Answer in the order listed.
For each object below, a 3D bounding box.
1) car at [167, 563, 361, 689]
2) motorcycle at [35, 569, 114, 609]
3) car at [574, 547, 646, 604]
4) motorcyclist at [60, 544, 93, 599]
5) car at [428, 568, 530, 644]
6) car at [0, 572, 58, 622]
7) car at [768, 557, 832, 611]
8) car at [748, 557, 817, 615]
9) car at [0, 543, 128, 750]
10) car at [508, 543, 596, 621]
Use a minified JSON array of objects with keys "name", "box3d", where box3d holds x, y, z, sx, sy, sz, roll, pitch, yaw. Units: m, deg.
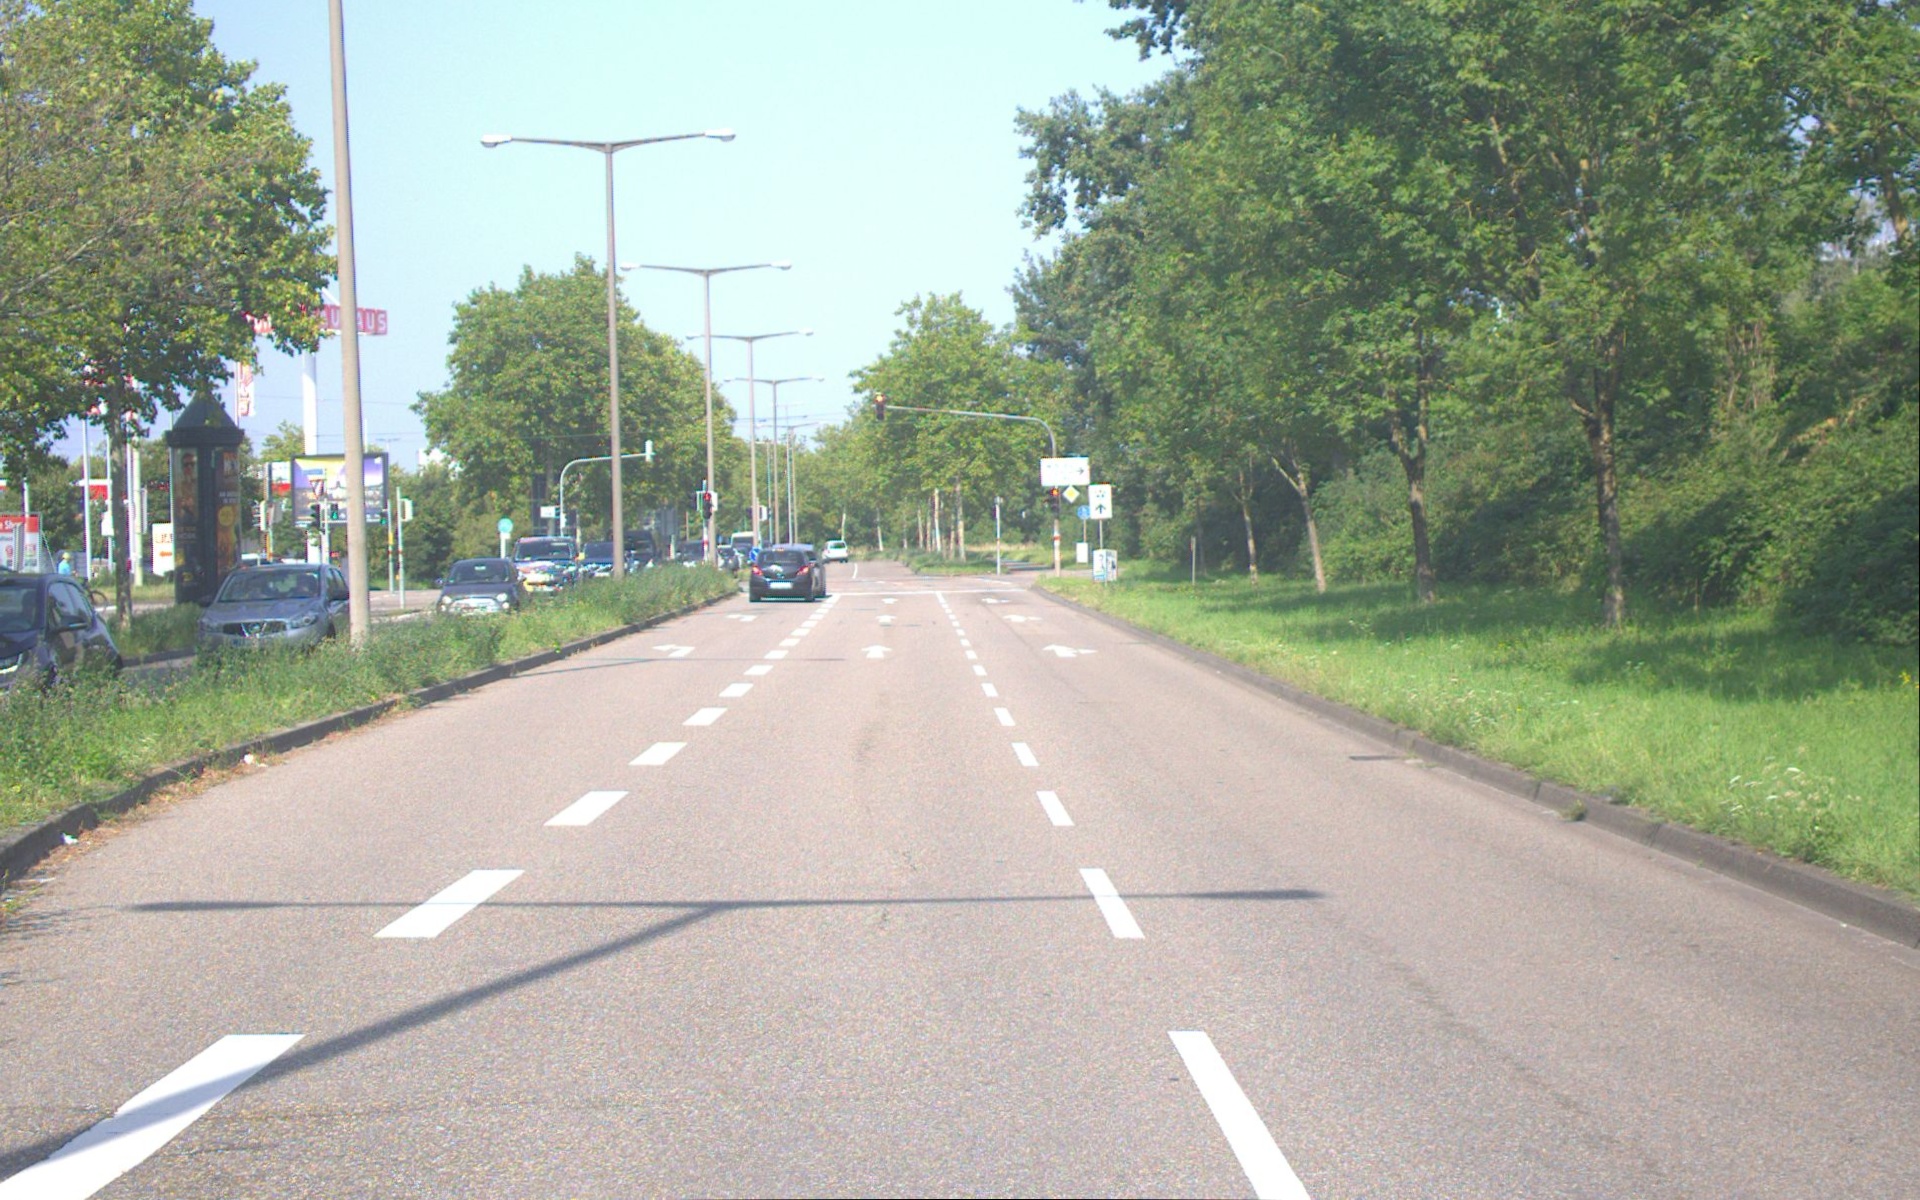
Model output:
[{"name":"car","box3d":[-9.558,0.326,47.491,1.879,1.588,4.109,-2,1,-1]},{"name":"motorcycle","box3d":[-25.430,-0.320,98.725,2.070,1.132,0.677,-1,0,-36]},{"name":"car","box3d":[-11.913,-0.844,117.250,1.993,1.700,4.505,-7,1,-2]},{"name":"motorcyclist","box3d":[-25.380,-0.830,98.756,0.681,1.566,0.683,-1,1,-36]},{"name":"car","box3d":[-9.772,0.110,70.027,1.676,1.481,3.493,0,1,-2]},{"name":"car","box3d":[-28.341,-0.094,100.225,3.691,1.438,1.466,-1,1,-37]},{"name":"car","box3d":[-4.606,-0.482,99.257,1.692,1.481,4.000,-2,1,-1]},{"name":"car","box3d":[-4.777,-0.404,92.933,1.692,1.481,4.000,-2,1,-1]},{"name":"car","box3d":[-9.122,0.422,31.314,1.993,1.753,4.307,-3,1,-1]},{"name":"car","box3d":[-11.111,-0.503,93.795,1.932,2.021,4.567,-2,1,-2]}]
